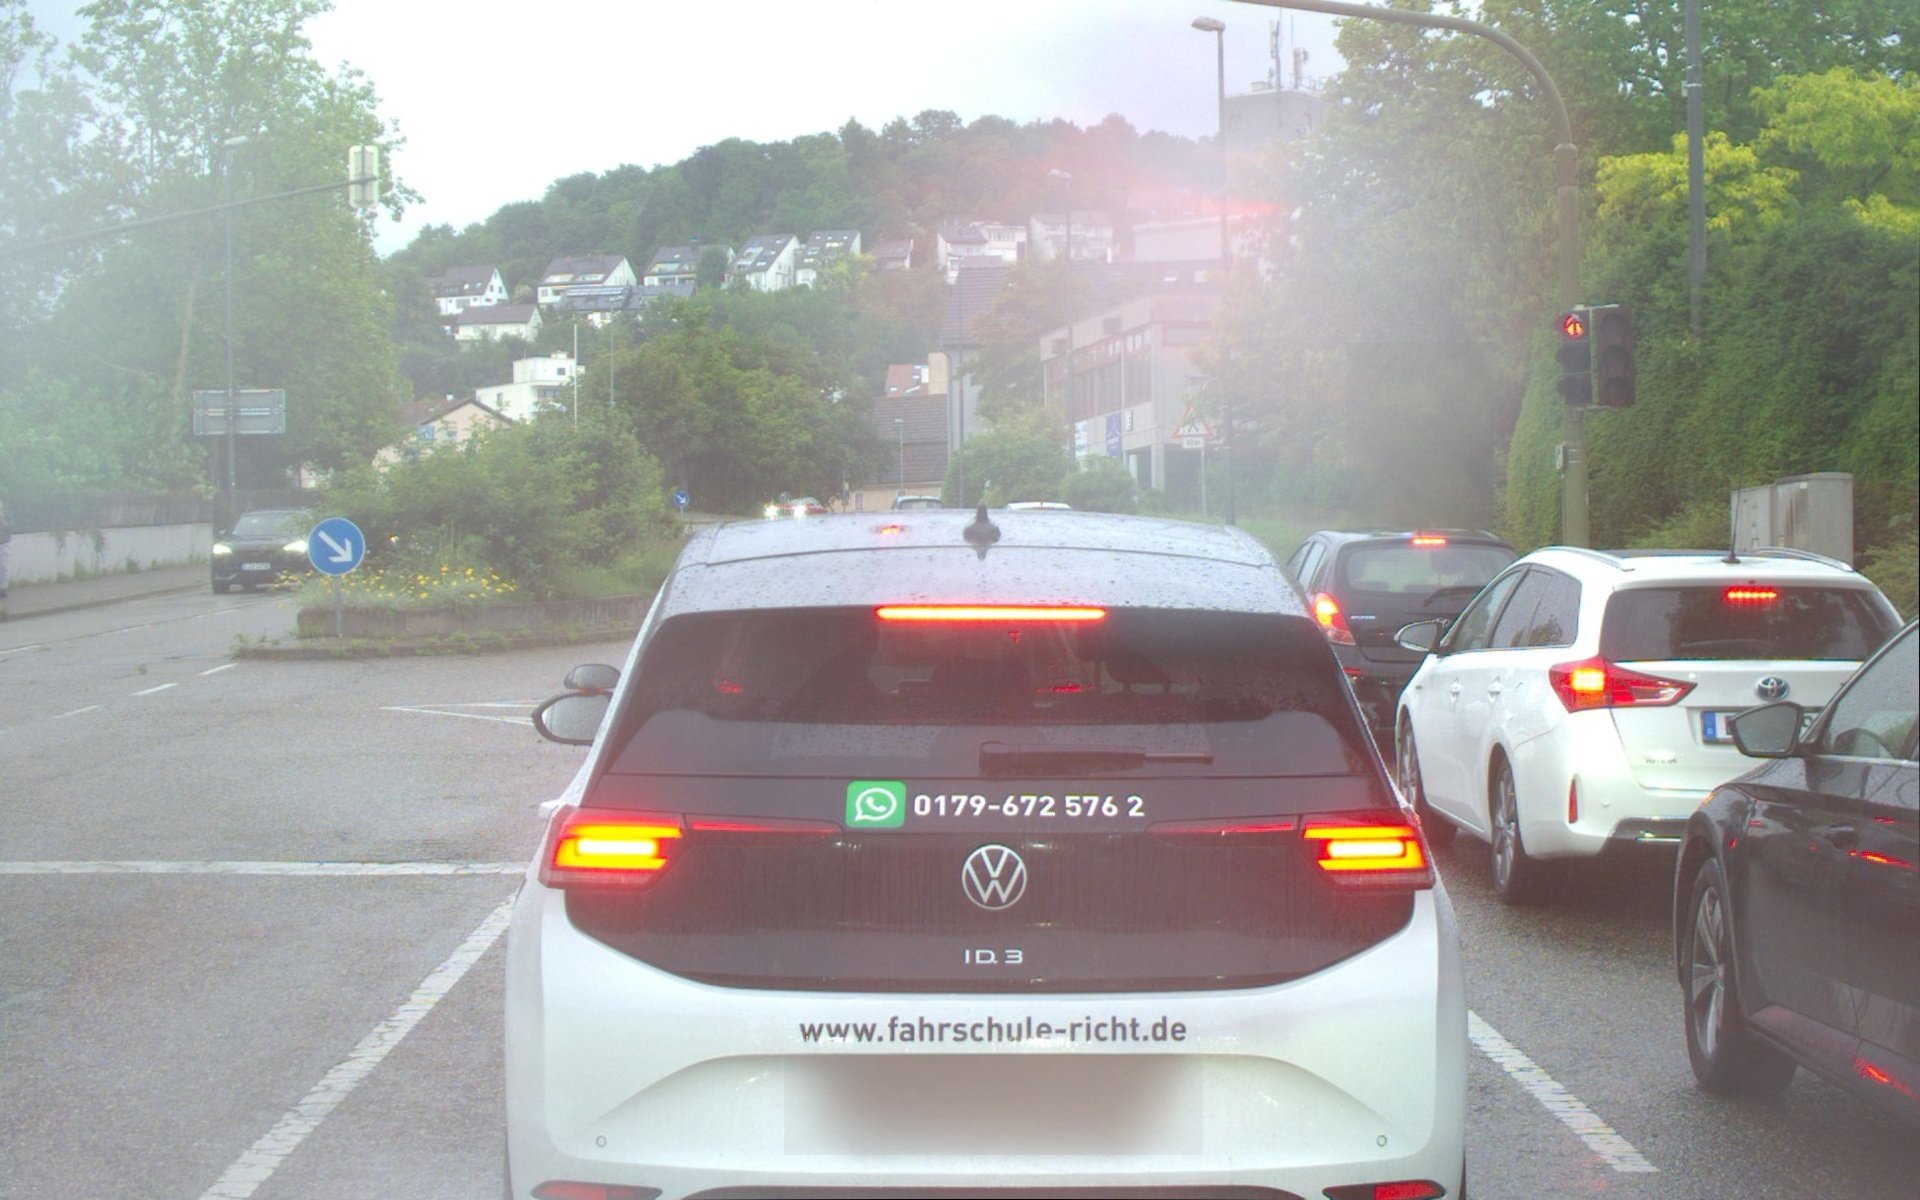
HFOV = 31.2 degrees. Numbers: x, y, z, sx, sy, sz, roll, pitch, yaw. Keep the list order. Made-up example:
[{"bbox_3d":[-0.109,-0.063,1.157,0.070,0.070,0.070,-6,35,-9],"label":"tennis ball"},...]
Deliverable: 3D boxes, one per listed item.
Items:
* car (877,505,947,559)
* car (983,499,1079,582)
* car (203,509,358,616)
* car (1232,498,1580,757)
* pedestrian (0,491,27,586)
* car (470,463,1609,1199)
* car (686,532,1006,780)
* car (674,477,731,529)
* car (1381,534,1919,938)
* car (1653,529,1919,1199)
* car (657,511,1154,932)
[{"bbox_3d":[-1.348,-1.890,95.013,1.761,1.413,3.749,-1,2,-3],"label":"car"},{"bbox_3d":[1.296,-1.097,64.063,1.581,1.462,4.000,-1,1,-1],"label":"car"},{"bbox_3d":[-12.446,-0.701,63.219,1.993,1.798,4.000,-3,1,0],"label":"car"},{"bbox_3d":[2.924,0.144,23.319,1.775,1.576,4.000,1,1,0],"label":"car"},{"bbox_3d":[-16.119,-1.020,57.467,0.760,1.562,0.825,-2,1,-1],"label":"pedestrian"},{"bbox_3d":[0.078,0.552,7.933,1.837,1.623,4.616,1,1,-1],"label":"car"},{"bbox_3d":[-0.708,0.290,21.978,1.837,1.395,3.831,1,1,-1],"label":"car"},{"bbox_3d":[-10.494,-3.935,140.344,1.993,2.007,4.000,1,0,0],"label":"car"},{"bbox_3d":[3.060,0.475,14.937,1.837,1.461,4.117,1,1,-1],"label":"car"},{"bbox_3d":[2.852,0.604,7.463,1.838,1.461,4.350,1,1,1],"label":"car"},{"bbox_3d":[-0.250,0.407,15.047,1.837,1.549,4.175,1,1,-1],"label":"car"}]
